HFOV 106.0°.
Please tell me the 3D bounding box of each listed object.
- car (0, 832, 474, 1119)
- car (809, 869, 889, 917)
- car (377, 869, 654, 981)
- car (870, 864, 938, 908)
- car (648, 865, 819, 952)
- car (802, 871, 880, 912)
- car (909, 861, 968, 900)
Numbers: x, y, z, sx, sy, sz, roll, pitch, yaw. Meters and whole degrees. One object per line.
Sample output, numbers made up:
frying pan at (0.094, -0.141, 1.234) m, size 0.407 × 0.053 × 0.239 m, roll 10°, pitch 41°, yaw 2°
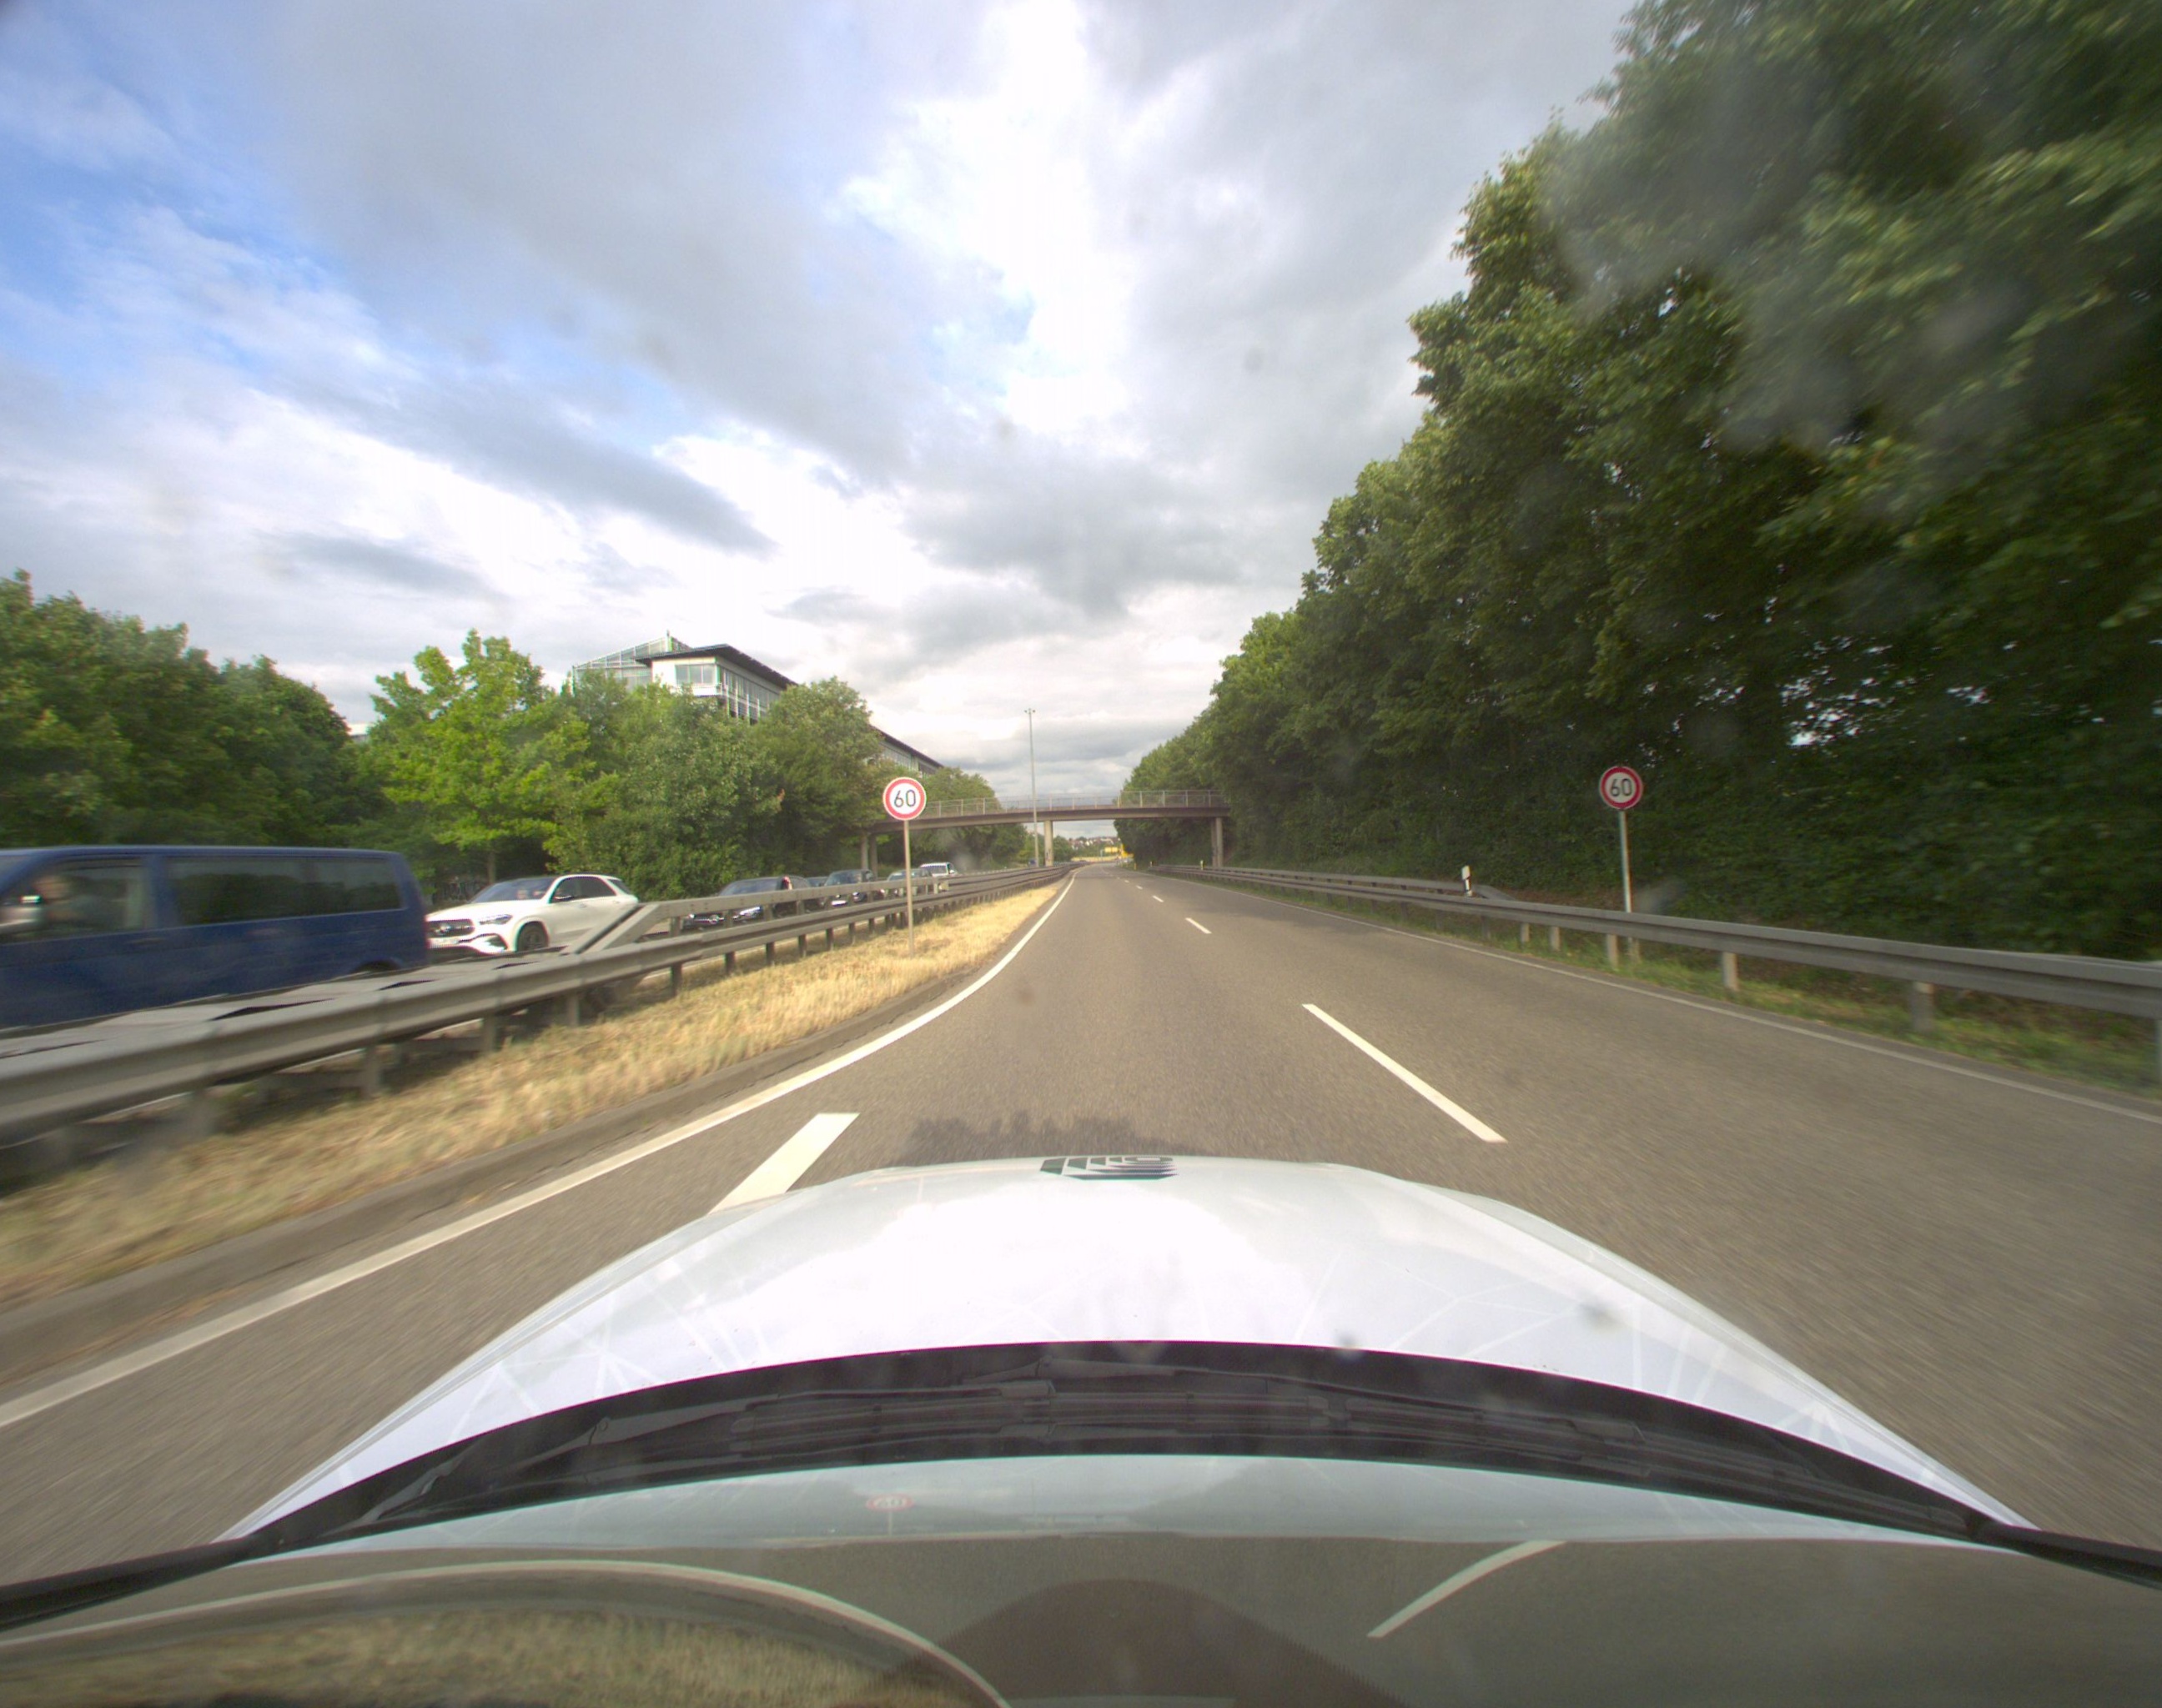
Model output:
car at (-8.110, 0.904, 6.851) m, size 1.891 × 1.916 × 5.054 m, roll -6°, pitch -1°, yaw 3°
car at (-7.713, 1.256, 27.356) m, size 1.550 × 1.360 × 3.463 m, roll -3°, pitch 0°, yaw 1°
car at (-11.202, 1.294, 16.715) m, size 2.026 × 1.749 × 4.848 m, roll -4°, pitch 0°, yaw 2°
car at (-6.953, 1.209, 32.319) m, size 1.712 × 1.467 × 3.735 m, roll -4°, pitch 0°, yaw 1°
car at (-7.550, 1.097, 18.259) m, size 1.706 × 1.589 × 4.555 m, roll -4°, pitch -1°, yaw 1°
car at (-10.152, 1.542, 34.847) m, size 1.827 × 1.536 × 4.399 m, roll -2°, pitch -1°, yaw 2°
car at (-6.847, 1.241, 39.685) m, size 1.816 × 1.584 × 4.791 m, roll -6°, pitch -1°, yaw 1°
